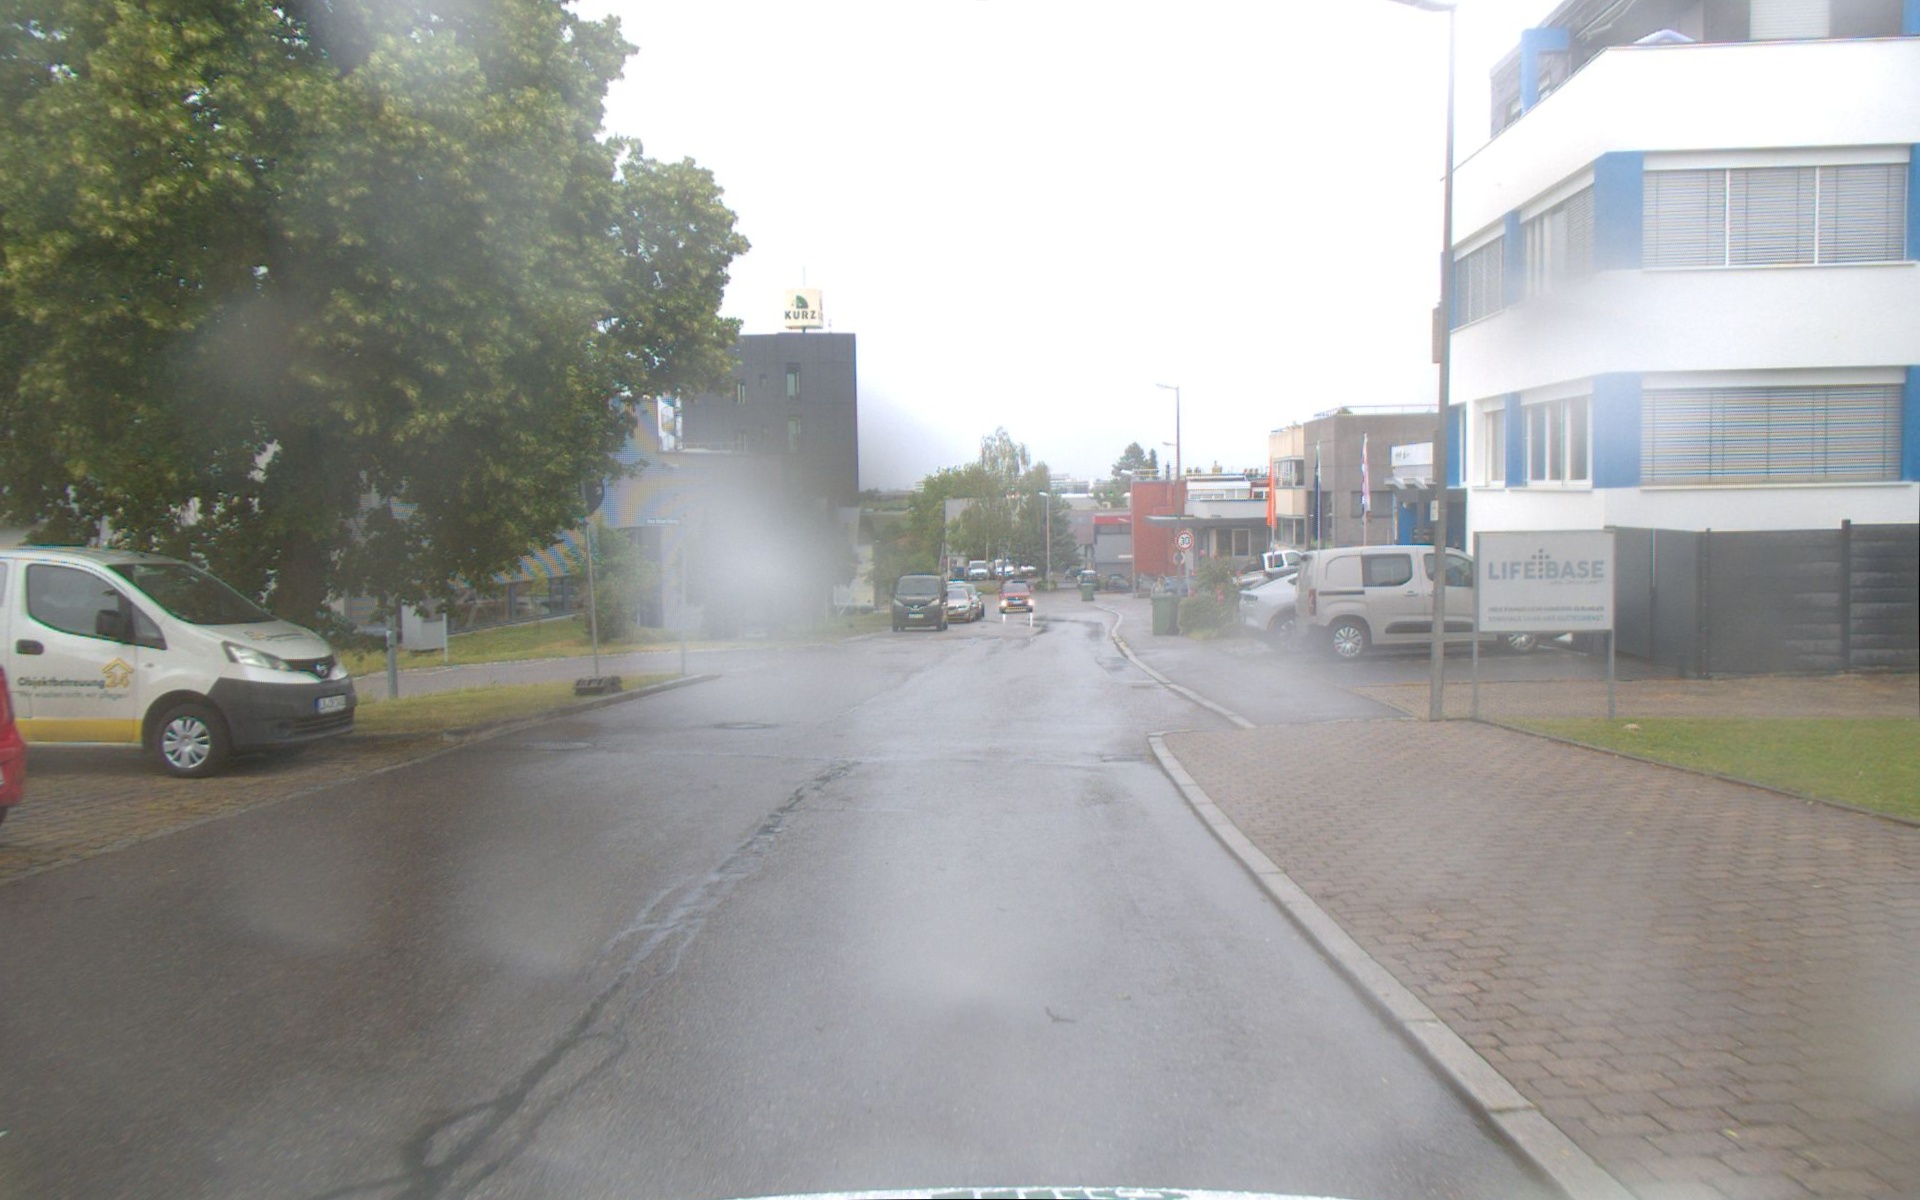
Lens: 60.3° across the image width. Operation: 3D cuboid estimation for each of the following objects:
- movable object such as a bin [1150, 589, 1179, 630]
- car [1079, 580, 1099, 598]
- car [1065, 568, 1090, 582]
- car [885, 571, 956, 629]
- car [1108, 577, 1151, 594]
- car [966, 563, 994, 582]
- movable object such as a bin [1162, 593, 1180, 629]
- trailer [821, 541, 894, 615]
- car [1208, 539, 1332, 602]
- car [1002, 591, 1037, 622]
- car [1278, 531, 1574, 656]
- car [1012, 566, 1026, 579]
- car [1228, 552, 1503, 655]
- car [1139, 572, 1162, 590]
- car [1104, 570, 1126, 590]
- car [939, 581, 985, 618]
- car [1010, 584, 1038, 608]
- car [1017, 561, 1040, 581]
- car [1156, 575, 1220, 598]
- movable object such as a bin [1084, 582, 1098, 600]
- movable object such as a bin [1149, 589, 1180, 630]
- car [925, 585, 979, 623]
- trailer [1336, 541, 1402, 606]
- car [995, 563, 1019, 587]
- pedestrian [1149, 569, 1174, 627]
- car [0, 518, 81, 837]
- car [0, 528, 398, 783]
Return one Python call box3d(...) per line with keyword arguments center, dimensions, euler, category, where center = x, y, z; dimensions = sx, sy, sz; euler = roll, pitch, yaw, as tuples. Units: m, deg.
box3d(center=(5.557, 0.252, 44.961), dimensions=(0.727, 1.085, 0.637), euler=(-1, 0, 5), category="movable object such as a bin")
box3d(center=(11.561, -0.999, 148.024), dimensions=(1.662, 1.501, 4.002), euler=(-2, 0, 3), category="car")
box3d(center=(12.091, -2.617, 170.193), dimensions=(2.496, 1.375, 1.242), euler=(-1, 1, -2), category="car")
box3d(center=(-1.300, -0.022, 56.431), dimensions=(1.875, 1.863, 4.851), euler=(-1, 0, 4), category="car")
box3d(center=(13.290, -1.138, 130.121), dimensions=(3.328, 1.183, 1.793), euler=(-1, 1, 5), category="car")
box3d(center=(2.213, -3.034, 183.115), dimensions=(2.225, 2.049, 3.988), euler=(-2, 0, -12), category="car")
box3d(center=(5.847, 0.312, 45.813), dimensions=(0.462, 0.984, 0.515), euler=(-1, 0, 5), category="movable object such as a bin")
box3d(center=(-6.182, -1.330, 99.641), dimensions=(4.111, 4.276, 1.995), euler=(-2, 0, 42), category="trailer")
box3d(center=(14.373, -1.336, 76.856), dimensions=(5.193, 2.046, 2.223), euler=(-9, -1, 3), category="car")
box3d(center=(3.255, 0.360, 90.440), dimensions=(1.712, 1.534, 3.935), euler=(-4, 0, 0), category="car")
box3d(center=(7.551, -0.112, 27.158), dimensions=(4.251, 1.804, 2.089), euler=(-2, 0, 2), category="car")
box3d(center=(6.804, -3.153, 189.922), dimensions=(1.370, 1.349, 2.699), euler=(-2, 0, -3), category="car")
box3d(center=(7.323, 0.051, 30.262), dimensions=(4.501, 1.565, 2.080), euler=(-3, 0, 3), category="car")
box3d(center=(16.993, -1.687, 147.618), dimensions=(1.693, 1.446, 4.002), euler=(-2, 0, 3), category="car")
box3d(center=(13.930, -1.768, 148.623), dimensions=(1.703, 1.682, 4.002), euler=(-2, 0, 3), category="car")
box3d(center=(0.123, -0.027, 77.416), dimensions=(1.917, 1.604, 4.841), euler=(-2, 0, 2), category="car")
box3d(center=(4.873, -0.315, 126.037), dimensions=(1.916, 1.705, 4.472), euler=(-2, 0, 0), category="car")
box3d(center=(7.606, -3.203, 184.268), dimensions=(2.103, 2.049, 3.937), euler=(-2, 0, -3), category="car")
box3d(center=(14.207, -0.844, 103.105), dimensions=(3.813, 1.408, 1.821), euler=(0, 0, 2), category="car")
box3d(center=(8.552, -0.605, 107.727), dimensions=(0.790, 1.111, 0.709), euler=(-2, 1, -2), category="movable object such as a bin")
box3d(center=(5.462, 0.252, 44.230), dimensions=(0.755, 1.048, 0.809), euler=(-1, 1, 5), category="movable object such as a bin")
box3d(center=(-0.302, 0.128, 71.050), dimensions=(1.915, 1.486, 5.250), euler=(-2, 1, 3), category="car")
box3d(center=(16.367, -1.095, 66.382), dimensions=(1.847, 2.458, 4.311), euler=(-2, 2, 5), category="trailer")
box3d(center=(5.188, -2.791, 183.395), dimensions=(2.150, 2.502, 3.996), euler=(-2, 0, -5), category="car")
box3d(center=(6.403, -0.059, 52.596), dimensions=(0.721, 1.798, 0.809), euler=(-1, 0, 5), category="pedestrian")
box3d(center=(-7.340, 0.487, 8.996), dimensions=(4.112, 1.752, 1.754), euler=(-2, 0, -3), category="car")
box3d(center=(-7.222, 0.472, 14.026), dimensions=(4.209, 1.939, 1.863), euler=(-2, 0, 6), category="car")
